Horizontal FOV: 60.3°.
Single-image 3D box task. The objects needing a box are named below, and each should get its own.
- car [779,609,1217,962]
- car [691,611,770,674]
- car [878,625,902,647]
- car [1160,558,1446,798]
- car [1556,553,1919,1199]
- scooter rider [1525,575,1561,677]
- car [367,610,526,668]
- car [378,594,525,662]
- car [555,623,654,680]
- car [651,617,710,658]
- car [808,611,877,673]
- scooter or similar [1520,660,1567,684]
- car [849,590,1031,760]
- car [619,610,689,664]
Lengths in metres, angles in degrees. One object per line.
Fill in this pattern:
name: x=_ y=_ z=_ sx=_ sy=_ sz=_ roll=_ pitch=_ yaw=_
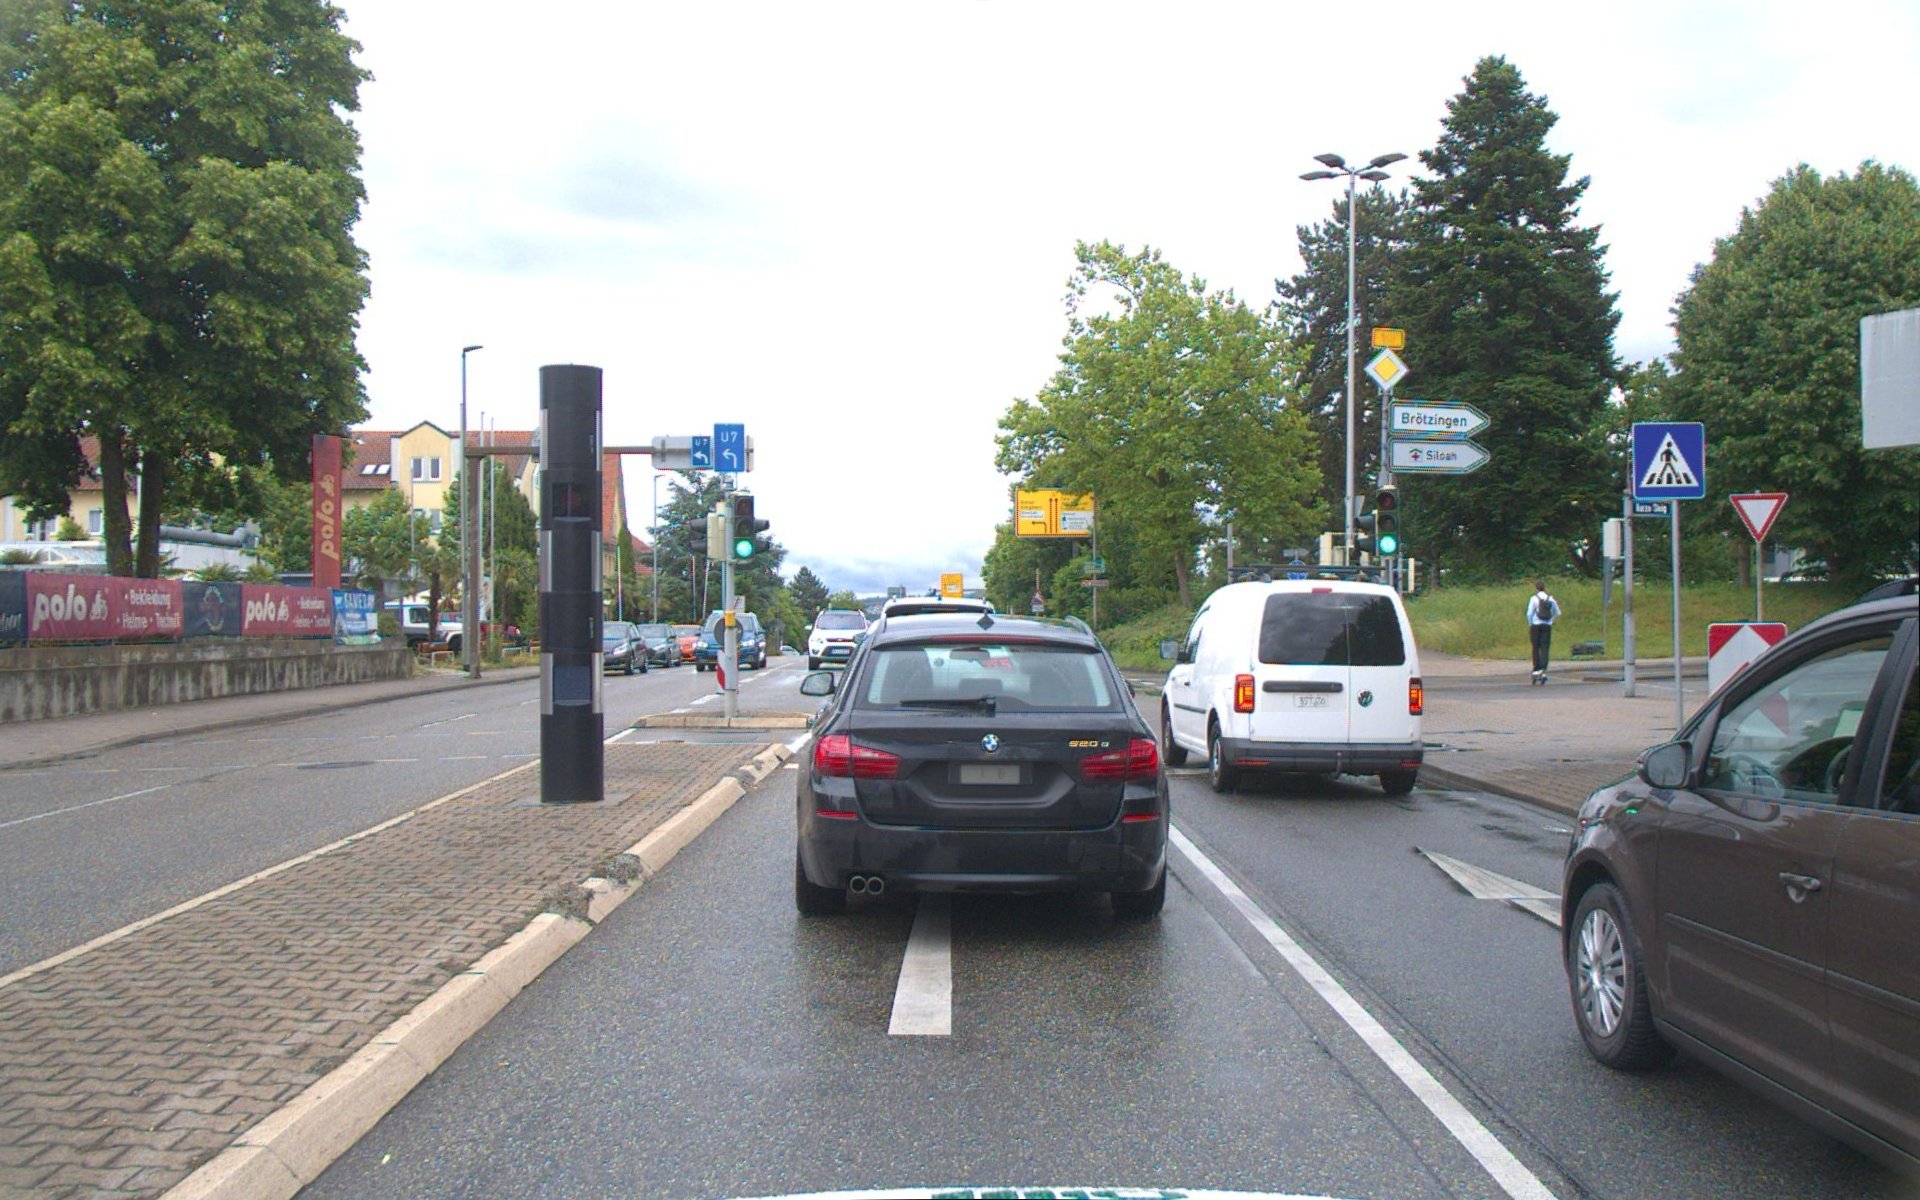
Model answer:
car: x=0.145 y=0.807 z=9.077 sx=1.860 sy=1.467 sz=3.999 roll=1 pitch=0 yaw=-1
car: x=-6.629 y=1.193 z=48.171 sx=1.802 sy=1.678 sz=4.295 roll=-2 pitch=0 yaw=-2
car: x=-5.821 y=2.963 z=138.078 sx=1.830 sy=1.703 sz=3.999 roll=1 pitch=0 yaw=-1
car: x=2.981 y=0.621 z=15.153 sx=1.729 sy=1.910 sz=3.804 roll=1 pitch=0 yaw=-2
car: x=3.067 y=0.722 z=4.093 sx=1.711 sy=1.637 sz=3.979 roll=1 pitch=-1 yaw=-1
scooter rider: x=11.566 y=0.512 z=32.825 sx=0.490 sy=2.000 sz=0.547 roll=-1 pitch=0 yaw=-1
car: x=-17.856 y=1.351 z=57.557 sx=4.942 sy=1.732 sz=1.980 roll=-2 pitch=-3 yaw=-29
car: x=-16.871 y=0.913 z=54.907 sx=4.339 sy=2.049 sz=1.980 roll=-2 pitch=0 yaw=-30
car: x=-9.729 y=1.373 z=45.587 sx=1.878 sy=1.403 sz=4.124 roll=-2 pitch=0 yaw=-1
car: x=-10.224 y=1.355 z=60.703 sx=1.590 sy=1.355 sz=3.945 roll=-1 pitch=0 yaw=-2
car: x=-3.332 y=1.170 z=47.647 sx=1.802 sy=1.678 sz=4.295 roll=0 pitch=0 yaw=-2
scooter or similar: x=11.566 y=1.430 z=32.812 sx=0.477 sy=0.410 sz=1.255 roll=-1 pitch=0 yaw=-1
car: x=-0.225 y=0.760 z=18.829 sx=1.830 sy=1.703 sz=3.999 roll=1 pitch=0 yaw=-1
car: x=-10.090 y=1.197 z=54.768 sx=1.642 sy=1.646 sz=3.999 roll=-1 pitch=0 yaw=-1
